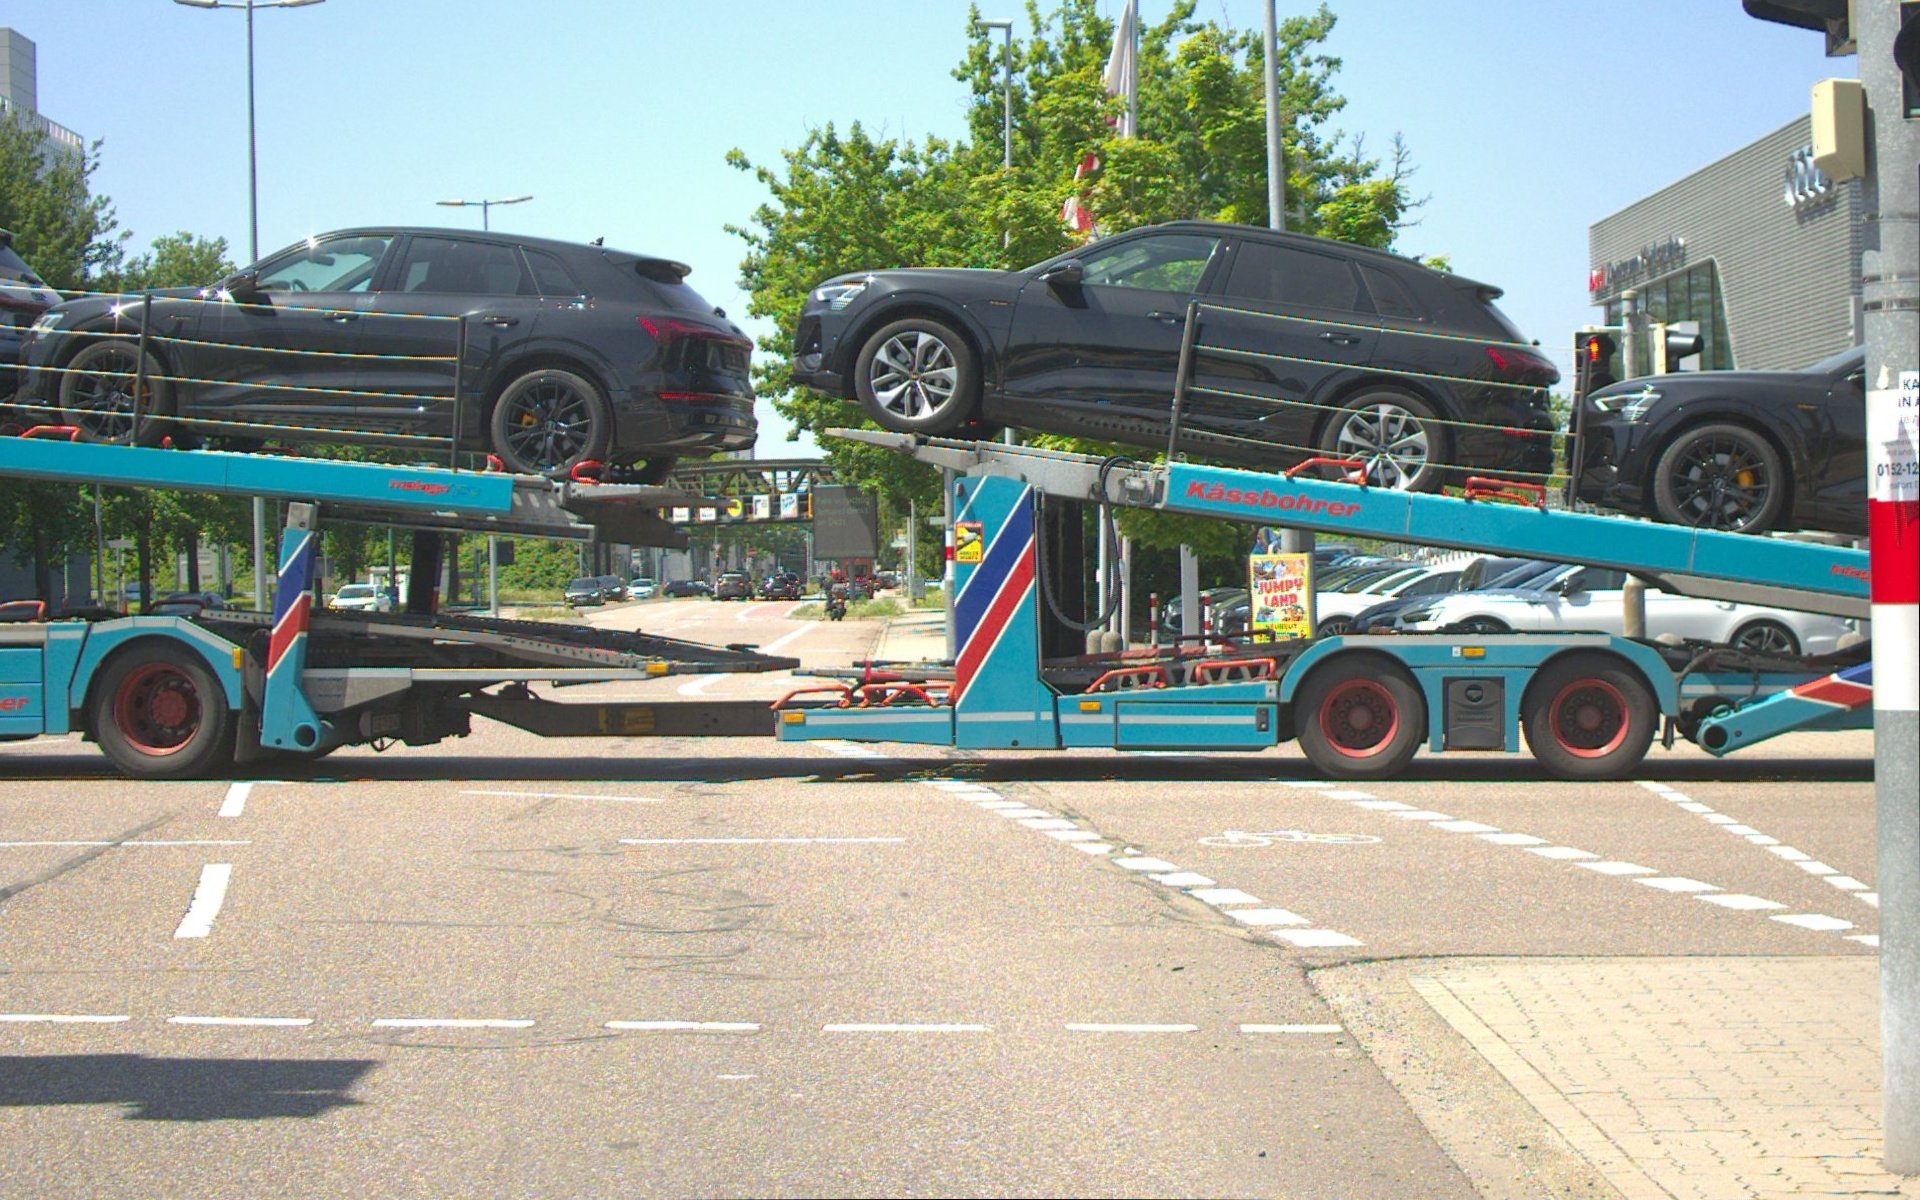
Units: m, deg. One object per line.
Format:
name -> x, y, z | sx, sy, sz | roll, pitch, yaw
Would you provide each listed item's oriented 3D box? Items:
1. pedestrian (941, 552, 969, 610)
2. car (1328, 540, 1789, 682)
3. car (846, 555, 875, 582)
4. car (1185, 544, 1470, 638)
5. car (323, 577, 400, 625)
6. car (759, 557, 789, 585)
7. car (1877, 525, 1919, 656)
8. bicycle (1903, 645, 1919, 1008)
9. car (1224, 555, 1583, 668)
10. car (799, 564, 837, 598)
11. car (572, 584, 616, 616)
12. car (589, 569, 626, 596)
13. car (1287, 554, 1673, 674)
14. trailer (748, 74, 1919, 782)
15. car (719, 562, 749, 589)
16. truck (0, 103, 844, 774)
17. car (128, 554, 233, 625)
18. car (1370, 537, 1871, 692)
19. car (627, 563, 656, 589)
pedestrian -> -0.132, -0.497, 89.436 | 0.668, 1.505, 0.736 | -1, 1, -1
car -> 6.530, 0.118, 37.933 | 4.741, 1.452, 2.000 | -1, 0, 1
car -> -6.422, -2.017, 222.513 | 1.772, 1.722, 4.000 | -1, 0, -1
car -> 6.463, -0.175, 60.818 | 4.741, 1.452, 2.000 | -2, 1, -2
car -> -21.878, 0.023, 125.791 | 1.927, 1.659, 4.088 | -1, 0, 2
car -> -12.027, -1.855, 222.129 | 1.772, 1.722, 4.000 | -1, 0, -1
car -> 16.565, -0.197, 53.582 | 3.987, 2.007, 2.000 | -1, 1, 0
bicycle -> 3.443, 0.725, 9.913 | 0.786, 1.123, 1.921 | 0, 1, -5
car -> 6.215, 0.143, 48.511 | 4.741, 1.452, 2.000 | -1, 1, -2
car -> -4.420, -0.593, 107.164 | 1.137, 1.038, 2.308 | -1, 1, -1
car -> -17.670, -0.016, 166.257 | 1.732, 1.422, 3.706 | -3, 0, -1
car -> -19.173, -0.956, 187.073 | 1.684, 1.406, 3.665 | -1, 0, -1
car -> 6.842, 0.167, 45.571 | 4.741, 1.452, 2.000 | -1, 1, -2
trailer -> 3.715, -0.991, 21.613 | 9.615, 4.067, 3.093 | 0, 0, 9
car -> -14.709, -1.590, 223.794 | 1.772, 1.722, 4.000 | -1, 0, -1
truck -> -6.307, -0.967, 23.230 | 10.621, 4.069, 3.099 | 0, 0, 9
car -> -23.049, -0.336, 101.841 | 1.994, 2.007, 4.000 | -1, 1, 3
car -> 6.682, 0.128, 35.179 | 4.741, 1.452, 2.000 | -1, 1, 1
car -> -20.414, -1.544, 220.234 | 1.648, 1.647, 4.164 | -1, 1, -3
